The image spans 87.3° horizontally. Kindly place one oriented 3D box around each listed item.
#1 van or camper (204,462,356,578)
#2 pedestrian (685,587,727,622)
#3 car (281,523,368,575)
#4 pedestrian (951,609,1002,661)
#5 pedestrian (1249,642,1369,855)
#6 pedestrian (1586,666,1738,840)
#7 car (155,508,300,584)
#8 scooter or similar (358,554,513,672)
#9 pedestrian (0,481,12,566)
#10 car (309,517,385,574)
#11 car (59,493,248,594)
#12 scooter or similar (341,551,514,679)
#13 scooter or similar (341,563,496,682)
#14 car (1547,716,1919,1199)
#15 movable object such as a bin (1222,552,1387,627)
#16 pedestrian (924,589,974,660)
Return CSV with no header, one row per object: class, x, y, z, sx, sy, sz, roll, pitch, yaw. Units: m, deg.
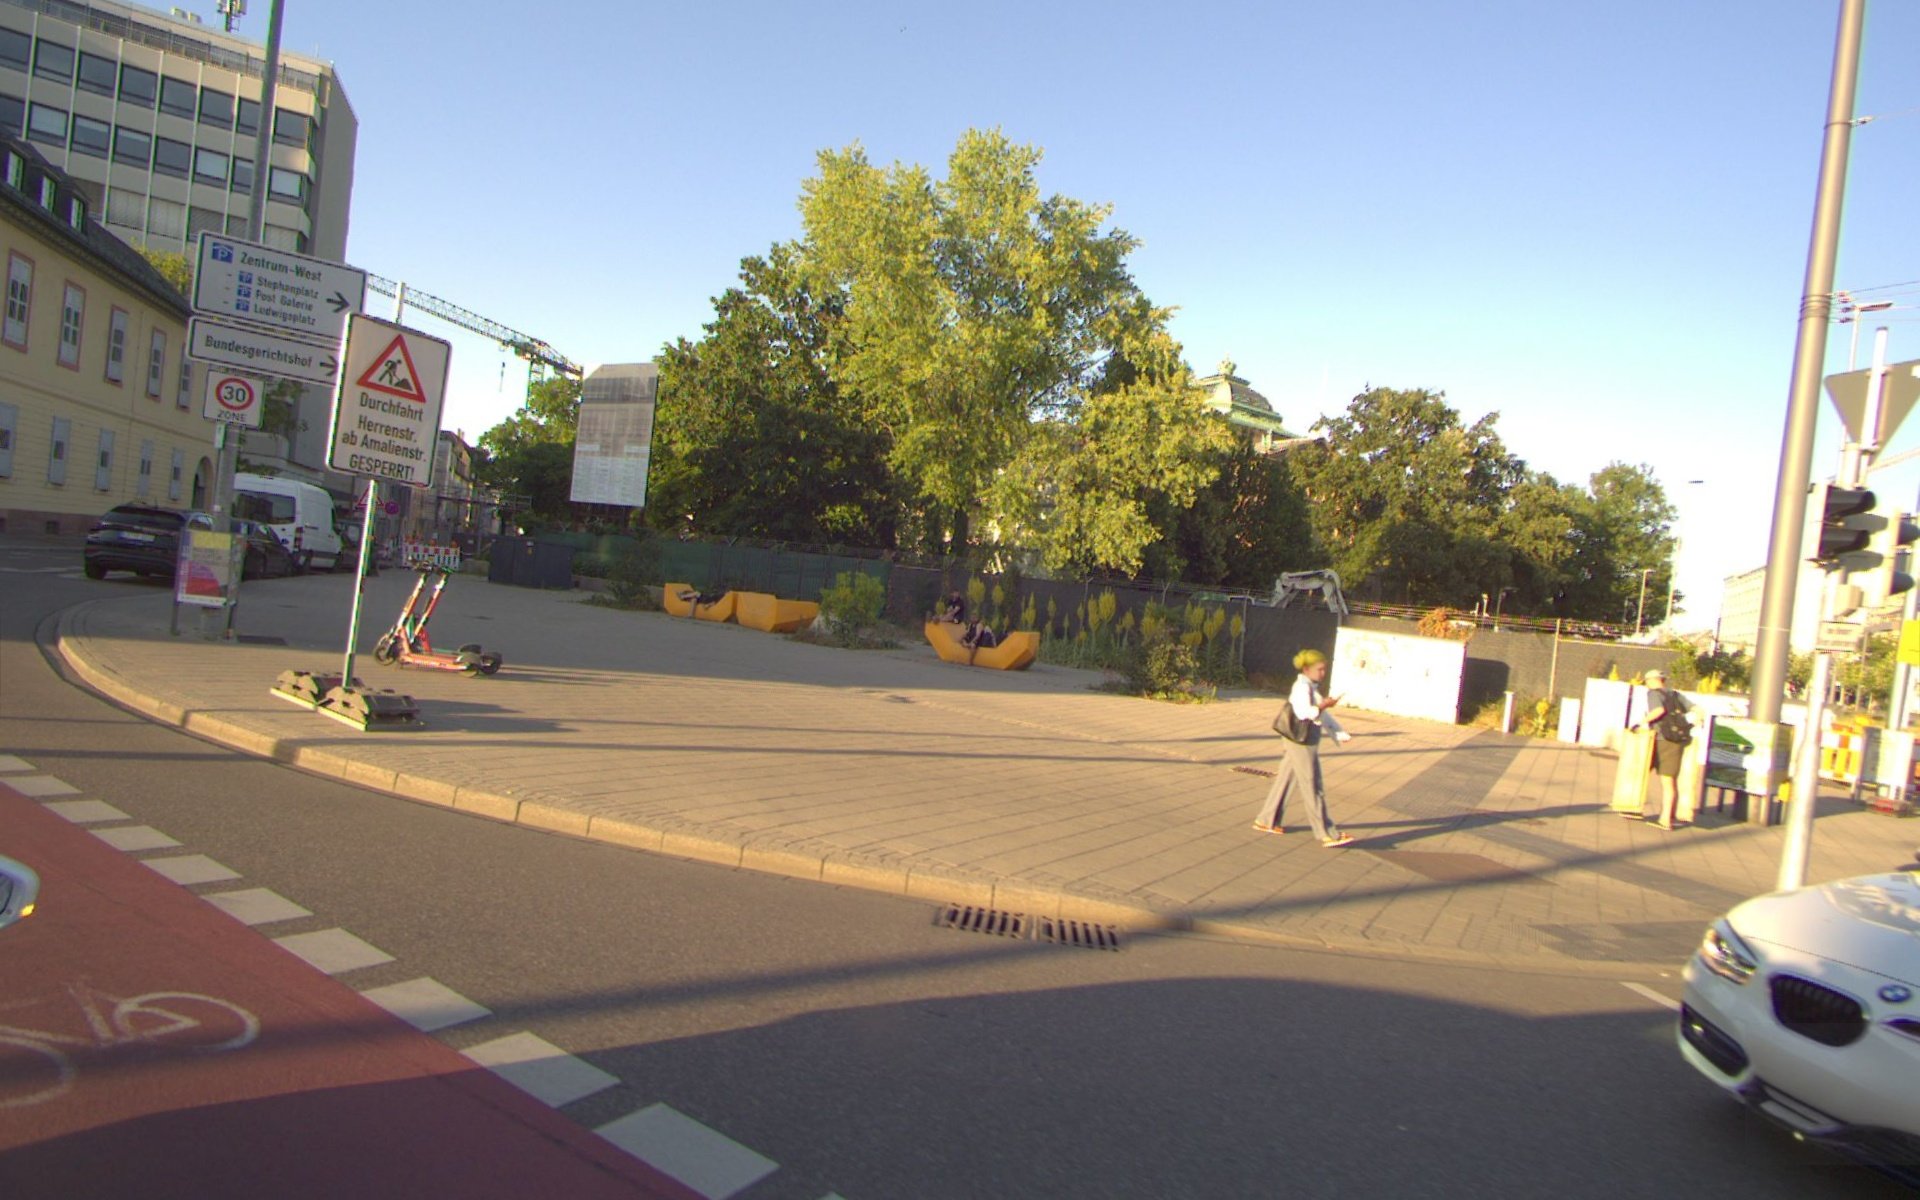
van or camper,-19.851,-2.230,29.726,2.055,2.809,6.418,6,0,-21
pedestrian,-7.503,0.143,29.743,0.963,0.904,0.562,7,1,14
car,-21.944,-1.751,34.865,1.674,1.477,4.077,7,0,-22
pedestrian,0.406,0.864,24.969,0.723,1.172,0.987,7,1,35
pedestrian,2.927,1.208,8.425,0.587,1.634,0.687,8,2,38
pedestrian,7.909,1.709,11.372,0.928,1.758,0.819,6,2,-12
car,-17.603,-1.299,24.414,1.711,1.447,4.449,7,0,-22
scooter or similar,-6.456,0.163,12.453,1.503,1.276,0.610,6,1,-16
pedestrian,-20.111,-1.618,20.415,0.866,1.746,0.826,7,1,-19
car,-23.592,-2.102,38.850,1.695,1.872,4.001,7,0,-22
car,-15.708,-1.090,19.864,1.761,1.563,4.265,7,0,-24
scooter or similar,-6.274,0.182,11.916,1.627,1.309,0.460,7,1,-16
scooter or similar,-6.124,0.252,11.438,1.383,1.181,0.459,6,1,-16
car,4.607,1.400,3.531,4.237,1.423,1.910,6,0,-16
movable object such as a bin,11.340,-0.409,33.545,1.978,2.039,4.984,6,1,-30
pedestrian,-0.277,0.629,25.329,0.752,1.686,0.819,7,2,35
